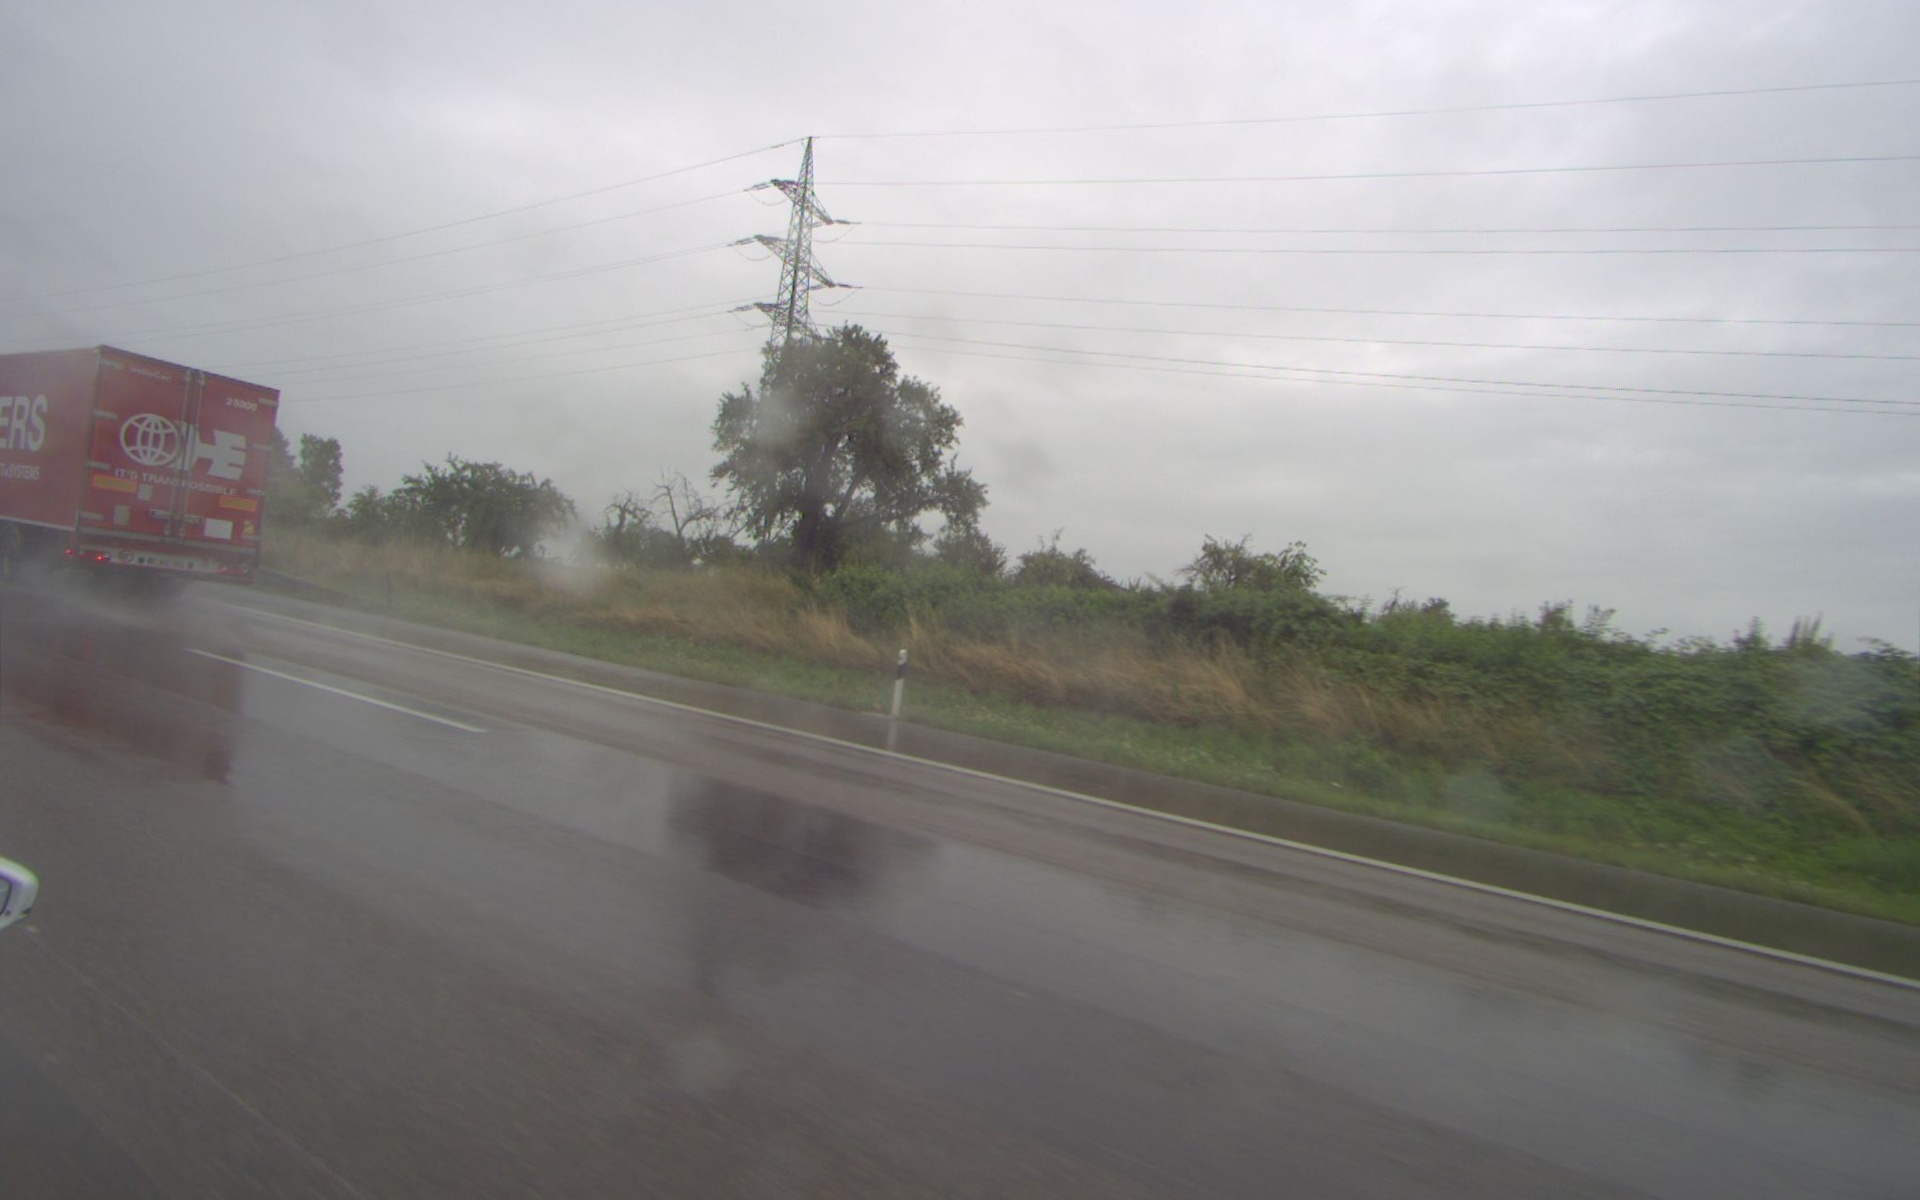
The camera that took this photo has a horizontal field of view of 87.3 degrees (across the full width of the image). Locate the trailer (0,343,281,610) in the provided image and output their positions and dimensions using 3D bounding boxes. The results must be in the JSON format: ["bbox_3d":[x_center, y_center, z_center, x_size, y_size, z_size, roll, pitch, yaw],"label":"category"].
[{"bbox_3d":[-18.669,-2.565,20.204,13.401,4.003,2.624,7,0,31],"label":"trailer"}]

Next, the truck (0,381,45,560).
[{"bbox_3d":[-24.552,-3.279,23.771,5.342,4.003,2.624,7,0,31],"label":"truck"}]
